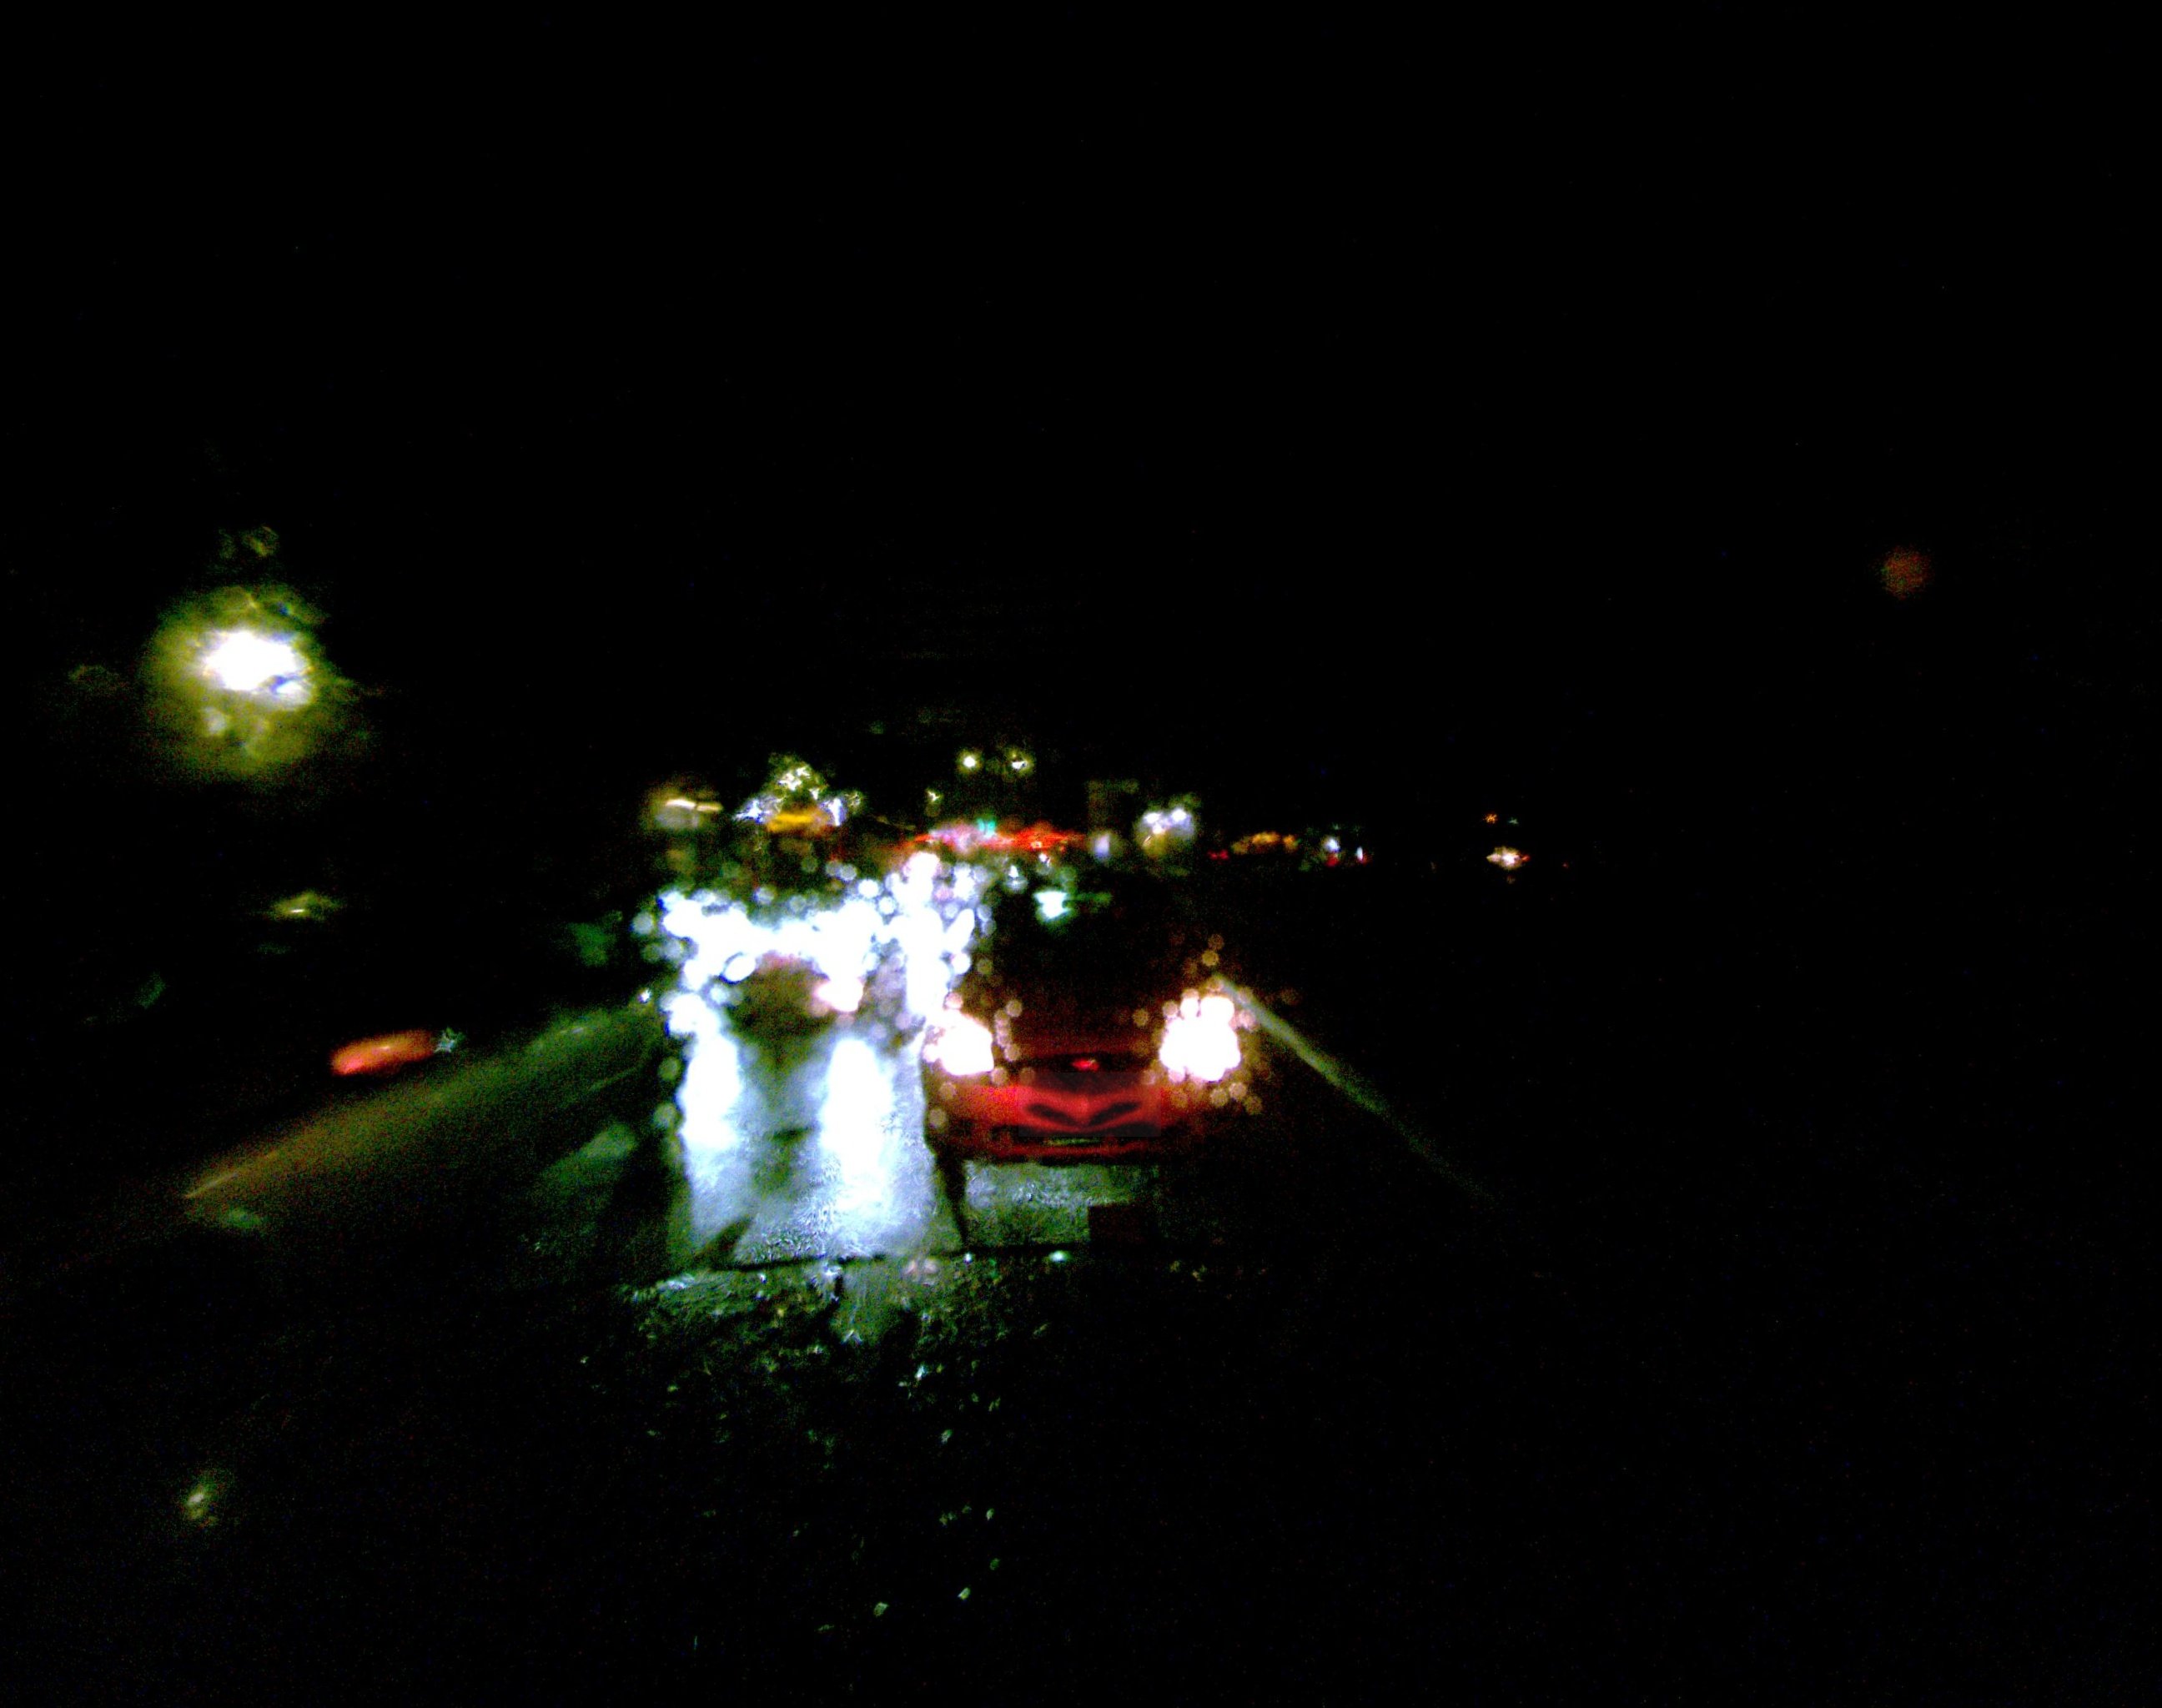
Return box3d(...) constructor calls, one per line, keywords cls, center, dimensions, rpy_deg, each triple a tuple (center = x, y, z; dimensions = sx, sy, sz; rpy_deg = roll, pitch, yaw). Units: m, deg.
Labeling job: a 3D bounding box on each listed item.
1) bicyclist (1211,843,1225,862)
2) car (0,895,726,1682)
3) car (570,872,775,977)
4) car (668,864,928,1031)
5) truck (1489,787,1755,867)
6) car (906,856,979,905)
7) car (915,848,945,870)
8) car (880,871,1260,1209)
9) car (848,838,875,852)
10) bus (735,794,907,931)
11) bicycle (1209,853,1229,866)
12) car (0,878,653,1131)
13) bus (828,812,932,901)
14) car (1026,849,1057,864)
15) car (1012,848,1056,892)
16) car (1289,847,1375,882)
box3d(cls="bicyclist", center=(10.420, -0.117, 57.674), dimensions=(0.630, 1.427, 1.187), rpy_deg=(-1, 1, -14))
box3d(cls="car", center=(-3.156, 1.025, 2.802), dimensions=(1.724, 1.438, 4.161), rpy_deg=(-1, 1, 0))
box3d(cls="car", center=(-7.137, 1.130, 13.830), dimensions=(1.725, 1.478, 4.160), rpy_deg=(0, 1, -4))
box3d(cls="car", center=(-3.316, 0.991, 9.858), dimensions=(1.724, 1.478, 4.161), rpy_deg=(-4, 1, 0))
box3d(cls="truck", center=(33.038, -1.606, 46.916), dimensions=(13.671, 4.416, 2.743), rpy_deg=(-1, 1, 7))
box3d(cls="car", center=(-4.455, 0.807, 24.976), dimensions=(1.698, 1.455, 3.973), rpy_deg=(0, 1, 0))
box3d(cls="car", center=(-13.342, 0.429, 66.975), dimensions=(2.002, 1.871, 3.993), rpy_deg=(-2, 1, -19))
box3d(cls="car", center=(-0.063, 0.909, 5.512), dimensions=(1.755, 1.438, 3.973), rpy_deg=(0, 1, 0))
box3d(cls="car", center=(-23.725, -0.958, 81.935), dimensions=(1.712, 1.382, 3.990), rpy_deg=(-2, 1, -32))
box3d(cls="bus", center=(-7.422, 0.142, 23.355), dimensions=(2.742, 3.258, 9.693), rpy_deg=(-2, 1, -5))
box3d(cls="bicycle", center=(10.444, 0.409, 57.609), dimensions=(0.629, 0.899, 2.210), rpy_deg=(-1, 1, -14))
box3d(cls="car", center=(-6.436, 1.085, 7.495), dimensions=(1.724, 1.478, 4.786), rpy_deg=(-1, 1, 0))
box3d(cls="bus", center=(-8.381, 0.022, 33.025), dimensions=(2.742, 3.219, 9.693), rpy_deg=(-2, 1, -6))
box3d(cls="car", center=(-4.105, 0.231, 78.266), dimensions=(1.832, 1.456, 4.416), rpy_deg=(-2, 1, -23))
box3d(cls="car", center=(-1.955, 0.623, 31.576), dimensions=(1.724, 1.695, 3.972), rpy_deg=(0, 1, -3))
box3d(cls="car", center=(11.302, 0.415, 34.615), dimensions=(2.041, 1.478, 4.495), rpy_deg=(0, 1, -6))
